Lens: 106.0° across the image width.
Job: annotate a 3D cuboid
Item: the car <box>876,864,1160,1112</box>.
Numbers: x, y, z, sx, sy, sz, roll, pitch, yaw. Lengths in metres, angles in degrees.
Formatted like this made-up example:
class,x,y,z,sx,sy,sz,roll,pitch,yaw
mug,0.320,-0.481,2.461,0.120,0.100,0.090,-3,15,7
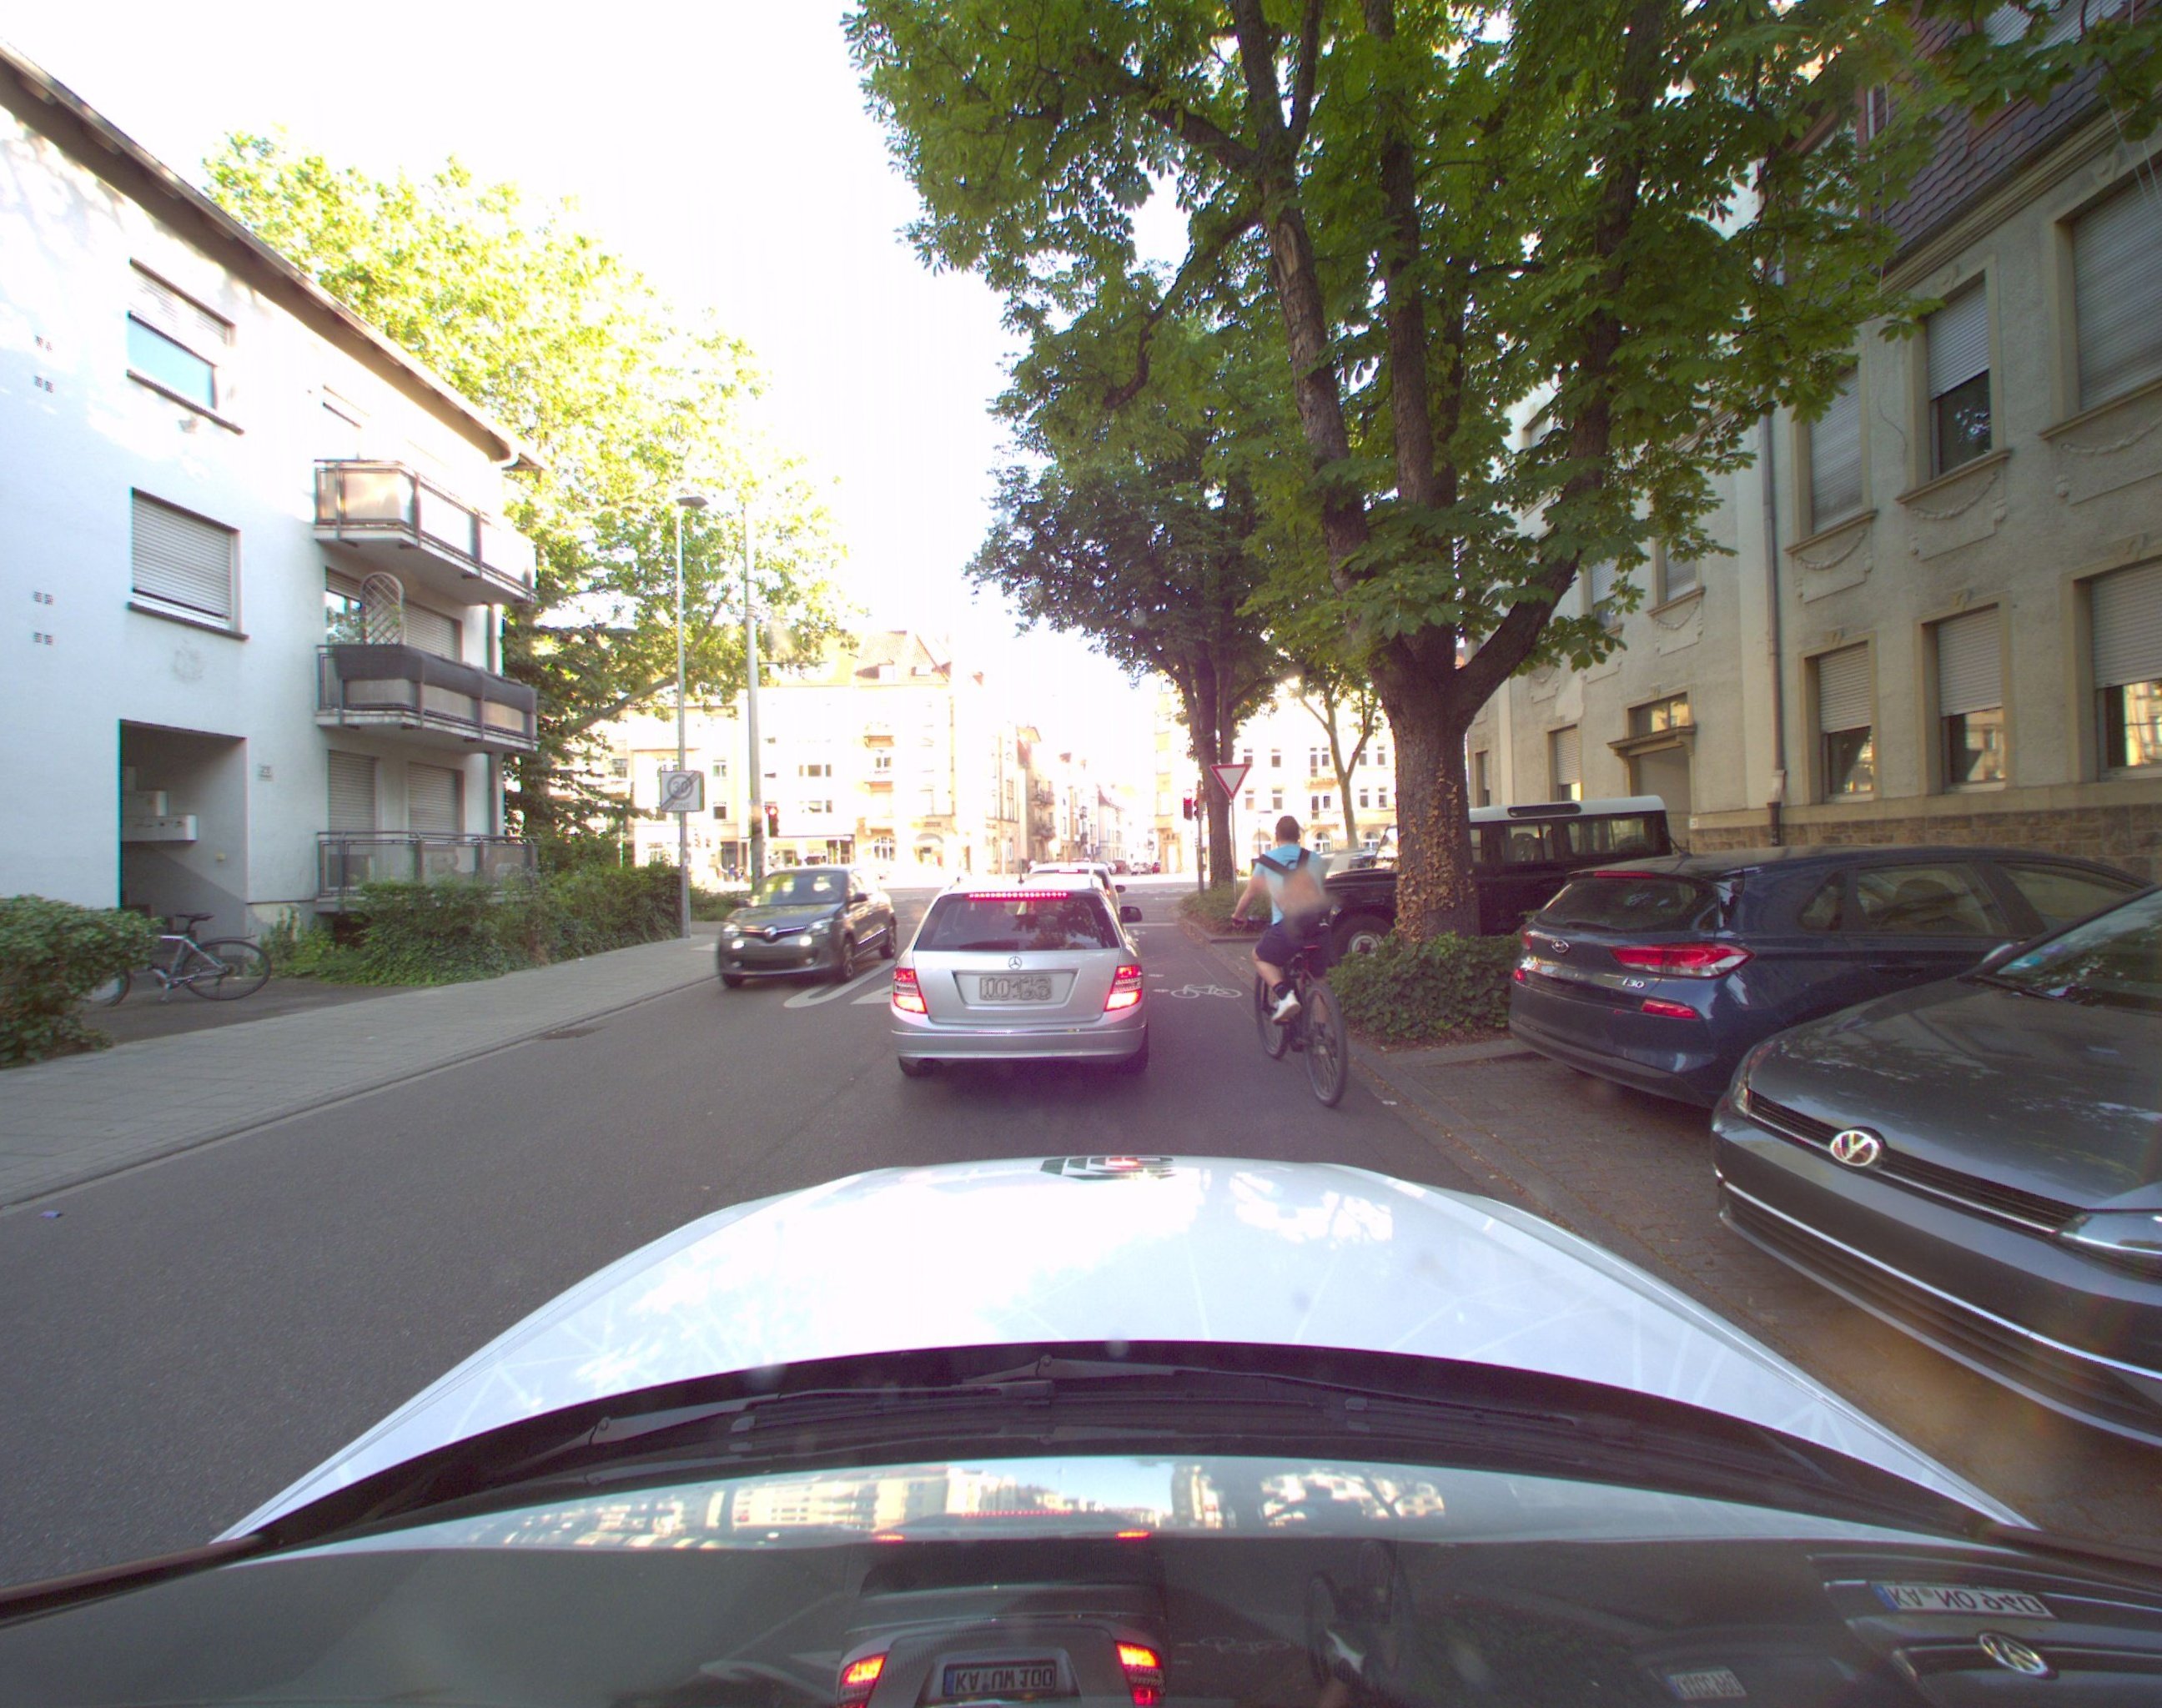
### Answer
class,x,y,z,sx,sy,sz,roll,pitch,yaw
car,-0.390,0.812,6.592,1.685,1.429,3.491,0,0,-1

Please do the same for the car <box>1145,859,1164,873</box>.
class,x,y,z,sx,sy,sz,roll,pitch,yaw
car,9.229,1.448,102.032,1.709,1.478,4.016,-6,-1,14

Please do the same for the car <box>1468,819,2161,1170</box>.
class,x,y,z,sx,sy,sz,roll,pitch,yaw
car,4.436,0.613,4.530,3.739,1.422,1.627,-3,-1,-2

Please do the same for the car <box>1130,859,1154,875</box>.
class,x,y,z,sx,sy,sz,roll,pitch,yaw
car,6.482,1.323,85.885,1.708,1.478,4.016,-3,0,14

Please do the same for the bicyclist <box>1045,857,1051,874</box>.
class,x,y,z,sx,sy,sz,roll,pitch,yaw
bicyclist,-2.996,1.019,73.571,0.465,1.521,0.693,-2,0,-2

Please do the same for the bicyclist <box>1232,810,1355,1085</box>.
class,x,y,z,sx,sy,sz,roll,pitch,yaw
bicyclist,1.450,0.605,5.688,0.644,1.775,0.831,0,-1,1

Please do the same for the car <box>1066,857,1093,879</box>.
class,x,y,z,sx,sy,sz,roll,pitch,yaw
car,-0.127,1.349,79.973,1.926,1.958,4.161,-2,0,10

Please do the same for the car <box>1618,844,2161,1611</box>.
class,x,y,z,sx,sy,sz,roll,pitch,yaw
car,4.075,0.661,2.286,4.037,1.422,1.627,-3,-1,-2

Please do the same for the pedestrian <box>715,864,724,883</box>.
class,x,y,z,sx,sy,sz,roll,pitch,yaw
pedestrian,-28.356,1.525,63.858,0.566,1.511,0.499,-1,0,-17

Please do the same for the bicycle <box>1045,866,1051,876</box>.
class,x,y,z,sx,sy,sz,roll,pitch,yaw
bicycle,-2.981,1.549,73.492,0.567,0.834,1.565,-2,0,-1

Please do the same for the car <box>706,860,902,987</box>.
class,x,y,z,sx,sy,sz,roll,pitch,yaw
car,-3.835,0.873,11.901,1.610,1.501,3.591,-1,0,0

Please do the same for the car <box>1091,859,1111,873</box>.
class,x,y,z,sx,sy,sz,roll,pitch,yaw
car,2.535,1.527,102.552,1.639,1.783,3.876,-1,-1,13

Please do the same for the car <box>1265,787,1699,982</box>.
class,x,y,z,sx,sy,sz,roll,pitch,yaw
car,4.793,0.349,10.194,4.478,1.956,1.792,-3,0,-1

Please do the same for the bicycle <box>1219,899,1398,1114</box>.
class,x,y,z,sx,sy,sz,roll,pitch,yaw
bicycle,1.479,0.933,5.695,0.739,1.118,2.014,0,0,2

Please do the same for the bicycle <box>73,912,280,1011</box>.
class,x,y,z,sx,sy,sz,roll,pitch,yaw
bicycle,-10.003,1.163,9.083,1.469,0.975,0.402,1,-2,-38

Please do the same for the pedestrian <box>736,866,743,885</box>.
class,x,y,z,sx,sy,sz,roll,pitch,yaw
pedestrian,-27.383,1.748,65.254,0.474,1.511,0.428,-1,0,-18

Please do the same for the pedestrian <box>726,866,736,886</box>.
class,x,y,z,sx,sy,sz,roll,pitch,yaw
pedestrian,-28.033,1.767,65.270,0.507,1.511,0.536,-1,0,-3

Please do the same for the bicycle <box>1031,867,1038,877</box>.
class,x,y,z,sx,sy,sz,roll,pitch,yaw
bicycle,-4.232,1.588,73.535,0.567,0.834,1.565,-2,0,-1

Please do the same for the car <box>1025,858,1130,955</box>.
class,x,y,z,sx,sy,sz,roll,pitch,yaw
car,-0.046,0.786,13.821,1.528,1.391,3.599,-1,0,0

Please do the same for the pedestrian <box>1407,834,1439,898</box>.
class,x,y,z,sx,sy,sz,roll,pitch,yaw
pedestrian,10.016,0.342,23.872,0.630,1.845,0.574,-1,0,-2

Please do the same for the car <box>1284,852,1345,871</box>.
class,x,y,z,sx,sy,sz,roll,pitch,yaw
car,14.229,0.460,49.753,3.352,1.069,1.380,-2,0,0

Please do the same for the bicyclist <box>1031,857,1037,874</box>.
class,x,y,z,sx,sy,sz,roll,pitch,yaw
bicyclist,-4.264,1.049,73.574,0.465,1.514,0.655,-2,0,-2

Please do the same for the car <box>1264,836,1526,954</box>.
class,x,y,z,sx,sy,sz,roll,pitch,yaw
car,4.911,0.612,13.036,3.475,1.586,1.708,-3,0,-5
